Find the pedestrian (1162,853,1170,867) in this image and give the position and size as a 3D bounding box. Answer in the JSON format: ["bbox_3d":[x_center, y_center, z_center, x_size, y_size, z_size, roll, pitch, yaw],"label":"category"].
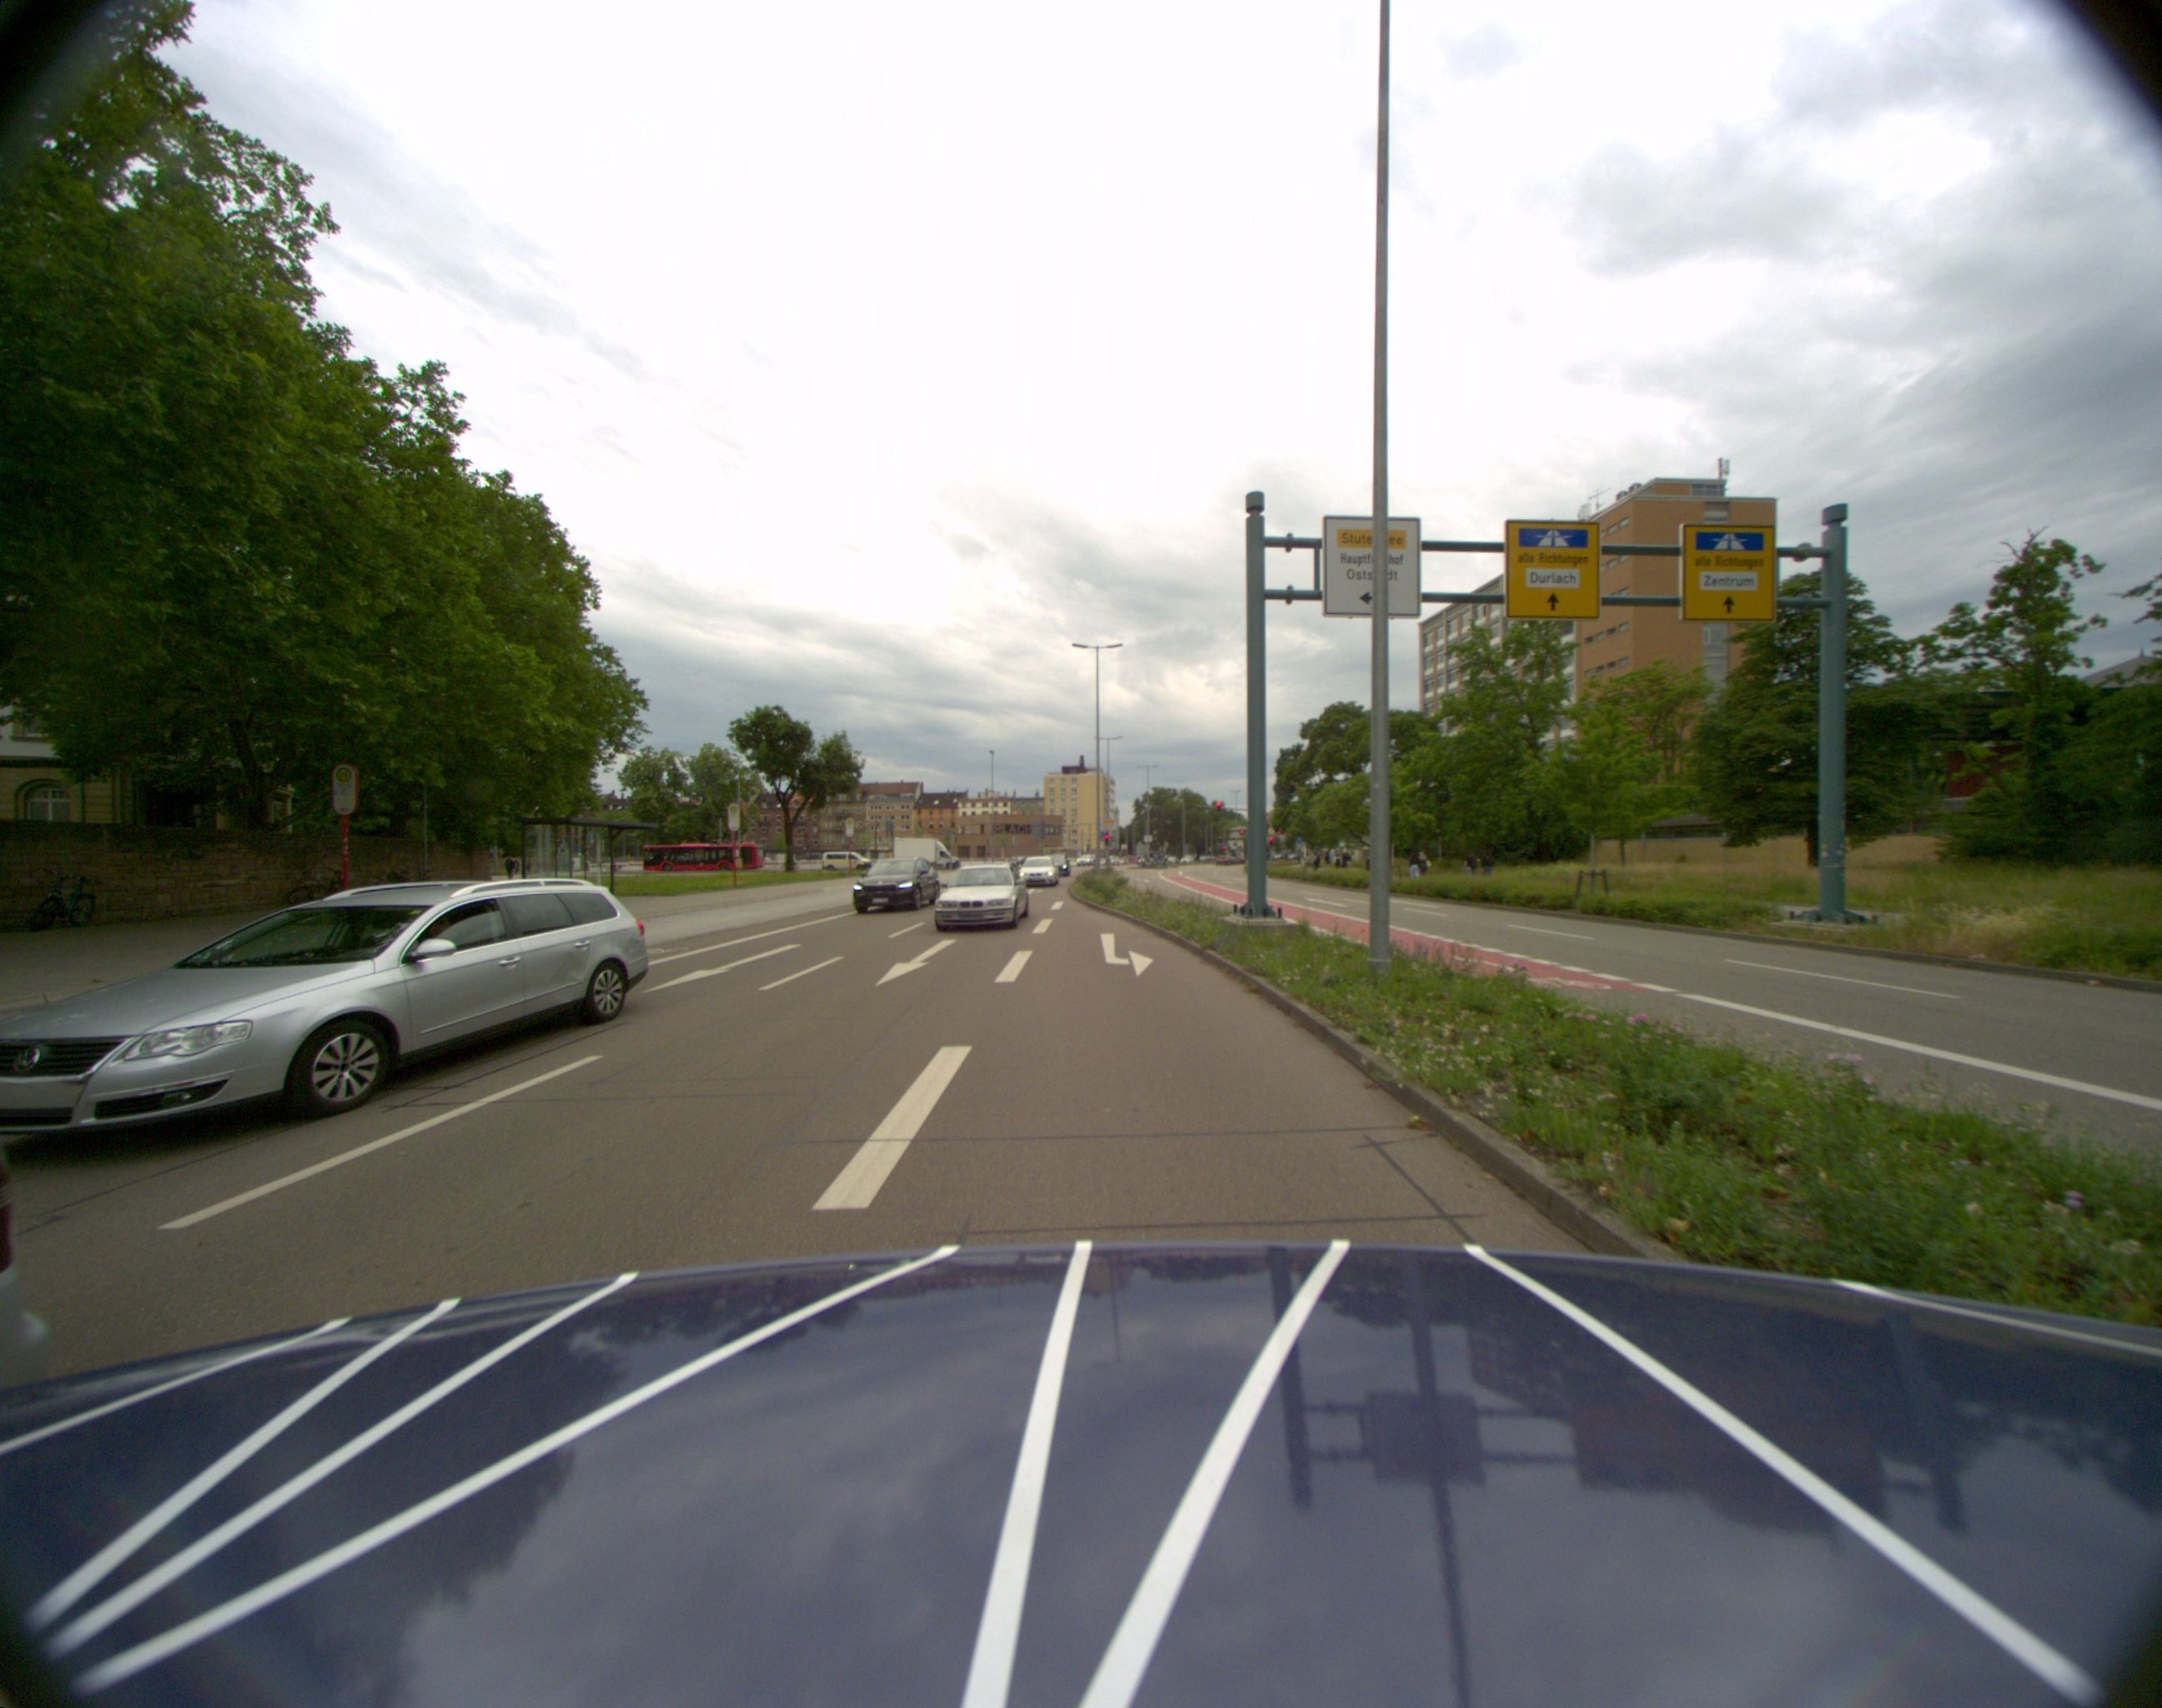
[{"bbox_3d":[10.448,0.721,93.364,0.777,1.657,0.706,1,0,-7],"label":"pedestrian"}]

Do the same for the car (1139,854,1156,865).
[{"bbox_3d":[11.588,0.939,132.194,1.835,1.753,3.918,1,0,22],"label":"car"}]

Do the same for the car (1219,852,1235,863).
[{"bbox_3d":[23.755,0.501,123.515,1.812,1.657,3.955,1,1,23],"label":"car"}]

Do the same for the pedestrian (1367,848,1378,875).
[{"bbox_3d":[17.654,0.454,46.019,0.575,1.599,0.617,1,0,17],"label":"pedestrian"}]

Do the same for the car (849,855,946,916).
[{"bbox_3d":[-5.656,0.907,23.977,1.912,1.615,4.490,-2,0,0],"label":"car"}]

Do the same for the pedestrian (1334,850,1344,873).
[{"bbox_3d":[18.779,0.547,55.299,0.622,1.685,0.747,1,0,15],"label":"pedestrian"}]

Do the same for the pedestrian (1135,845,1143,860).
[{"bbox_3d":[7.103,-0.217,92.862,0.917,1.794,0.541,1,0,17],"label":"pedestrian"}]

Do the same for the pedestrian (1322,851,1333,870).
[{"bbox_3d":[19.887,0.504,61.256,0.637,1.471,0.762,1,0,4],"label":"pedestrian"}]

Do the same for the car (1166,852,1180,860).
[{"bbox_3d":[17.568,0.363,144.773,1.606,1.586,3.766,1,0,26],"label":"car"}]

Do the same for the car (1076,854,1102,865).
[{"bbox_3d":[1.173,0.766,107.503,1.815,1.466,4.041,1,0,32],"label":"car"}]

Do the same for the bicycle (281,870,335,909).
[{"bbox_3d":[-23.663,1.062,23.299,0.596,1.129,1.709,1,0,-25],"label":"bicycle"}]

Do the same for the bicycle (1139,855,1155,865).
[{"bbox_3d":[8.345,0.750,96.245,2.005,1.136,0.807,1,0,3],"label":"bicycle"}]

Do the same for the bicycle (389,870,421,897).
[{"bbox_3d":[-26.337,1.141,29.638,0.552,0.986,1.633,1,0,-28],"label":"bicycle"}]

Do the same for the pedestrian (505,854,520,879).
[{"bbox_3d":[-39.196,0.861,52.368,0.759,1.725,0.820,1,1,-39],"label":"pedestrian"}]

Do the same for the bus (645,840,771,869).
[{"bbox_3d":[-40.613,0.002,82.957,12.090,2.891,2.937,-1,0,-3],"label":"bus"}]

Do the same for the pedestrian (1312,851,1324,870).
[{"bbox_3d":[19.090,0.501,61.105,0.730,1.471,0.813,1,0,4],"label":"pedestrian"}]

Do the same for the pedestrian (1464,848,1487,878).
[{"bbox_3d":[17.863,0.398,34.414,0.646,1.350,0.711,1,0,0],"label":"pedestrian"}]

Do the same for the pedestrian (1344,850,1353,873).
[{"bbox_3d":[19.559,0.549,55.546,0.579,1.702,0.763,1,0,14],"label":"pedestrian"}]

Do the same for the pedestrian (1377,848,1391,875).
[{"bbox_3d":[18.438,0.431,46.209,0.661,1.622,0.764,1,0,16],"label":"pedestrian"}]

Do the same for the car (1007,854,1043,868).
[{"bbox_3d":[-6.550,0.831,89.663,1.684,1.628,4.296,1,0,41],"label":"car"}]

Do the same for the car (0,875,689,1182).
[{"bbox_3d":[-5.727,1.121,6.782,1.829,1.542,4.527,-2,2,3],"label":"car"}]

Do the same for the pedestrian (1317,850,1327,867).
[{"bbox_3d":[24.021,0.415,75.806,0.708,1.661,0.890,-2,0,4],"label":"pedestrian"}]

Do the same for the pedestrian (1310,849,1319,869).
[{"bbox_3d":[22.087,0.473,71.855,0.638,1.790,0.762,-1,0,4],"label":"pedestrian"}]

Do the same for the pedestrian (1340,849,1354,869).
[{"bbox_3d":[21.871,0.427,62.497,0.635,1.603,0.829,-2,0,-21],"label":"pedestrian"}]

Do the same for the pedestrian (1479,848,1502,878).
[{"bbox_3d":[18.566,0.409,34.496,0.646,1.354,0.680,1,0,-1],"label":"pedestrian"}]

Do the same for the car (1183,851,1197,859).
[{"bbox_3d":[22.053,0.294,154.035,1.801,1.586,3.766,1,0,26],"label":"car"}]

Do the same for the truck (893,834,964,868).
[{"bbox_3d":[-15.761,-0.342,78.959,6.852,3.393,2.559,-1,2,-4],"label":"truck"}]

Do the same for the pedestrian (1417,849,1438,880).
[{"bbox_3d":[18.966,0.589,41.581,0.709,1.663,0.767,1,0,-5],"label":"pedestrian"}]

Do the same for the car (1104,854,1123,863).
[{"bbox_3d":[5.141,0.708,119.634,1.515,1.382,3.438,1,0,29],"label":"car"}]

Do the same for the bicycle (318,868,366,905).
[{"bbox_3d":[-24.227,1.048,24.946,0.596,1.123,1.709,1,0,-25],"label":"bicycle"}]

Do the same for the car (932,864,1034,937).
[{"bbox_3d":[-2.156,0.983,17.792,1.726,1.406,4.246,-2,0,1],"label":"car"}]

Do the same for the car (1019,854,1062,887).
[{"bbox_3d":[-1.932,0.771,37.271,1.785,1.454,3.871,-1,0,2],"label":"car"}]

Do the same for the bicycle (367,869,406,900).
[{"bbox_3d":[-25.631,1.103,28.065,0.596,1.053,1.709,1,0,-25],"label":"bicycle"}]

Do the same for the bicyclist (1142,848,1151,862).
[{"bbox_3d":[8.294,0.102,96.238,1.191,1.725,0.807,1,0,3],"label":"bicyclist"}]

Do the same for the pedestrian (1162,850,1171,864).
[{"bbox_3d":[10.691,0.343,95.166,0.769,1.794,0.739,1,0,-21],"label":"pedestrian"}]

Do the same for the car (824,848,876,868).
[{"bbox_3d":[-23.837,0.408,78.568,4.712,1.909,1.919,-1,3,-3],"label":"car"}]

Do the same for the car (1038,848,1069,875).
[{"bbox_3d":[-1.788,0.476,51.303,1.888,1.591,4.446,-4,0,0],"label":"car"}]

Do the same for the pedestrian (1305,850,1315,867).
[{"bbox_3d":[22.853,0.421,75.899,0.708,1.661,0.943,-1,0,4],"label":"pedestrian"}]

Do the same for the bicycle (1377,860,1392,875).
[{"bbox_3d":[18.356,0.826,45.949,0.661,0.882,1.717,1,0,16],"label":"bicycle"}]

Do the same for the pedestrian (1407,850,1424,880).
[{"bbox_3d":[18.276,0.593,41.526,0.587,1.650,0.720,1,0,-5],"label":"pedestrian"}]

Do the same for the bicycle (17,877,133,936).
[{"bbox_3d":[-20.483,1.039,15.518,0.599,1.098,1.652,1,0,-19],"label":"bicycle"}]
